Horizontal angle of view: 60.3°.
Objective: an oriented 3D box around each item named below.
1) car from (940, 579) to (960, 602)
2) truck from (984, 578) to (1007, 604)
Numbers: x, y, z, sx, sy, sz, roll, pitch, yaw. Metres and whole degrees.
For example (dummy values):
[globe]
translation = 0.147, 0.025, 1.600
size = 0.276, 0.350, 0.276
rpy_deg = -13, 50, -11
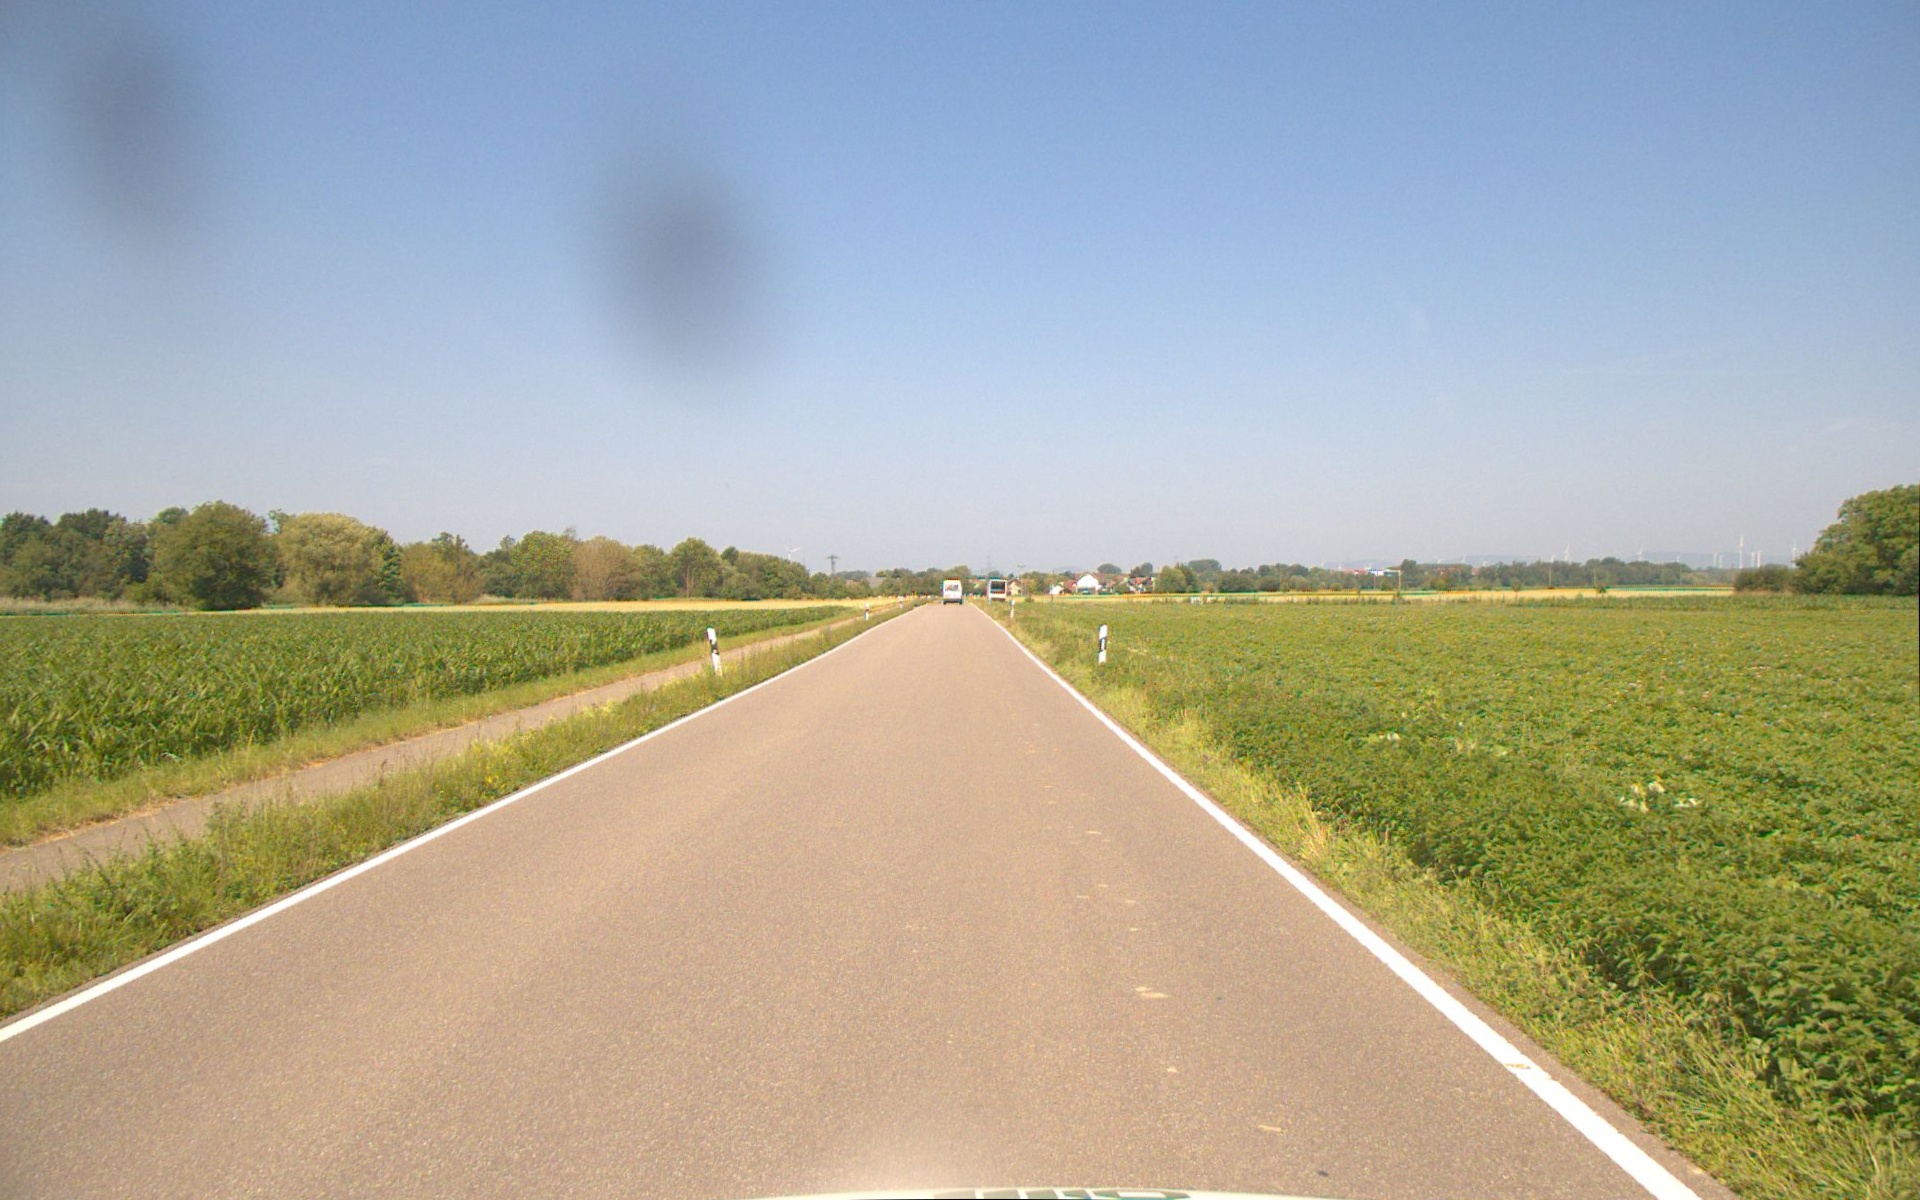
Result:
[car]
translation = -1.068, -0.965, 173.974
size = 2.064, 2.344, 5.495
rpy_deg = 1, 0, 0
[truck]
translation = 4.291, -1.037, 200.734
size = 2.289, 2.994, 7.005
rpy_deg = 2, 0, -2
